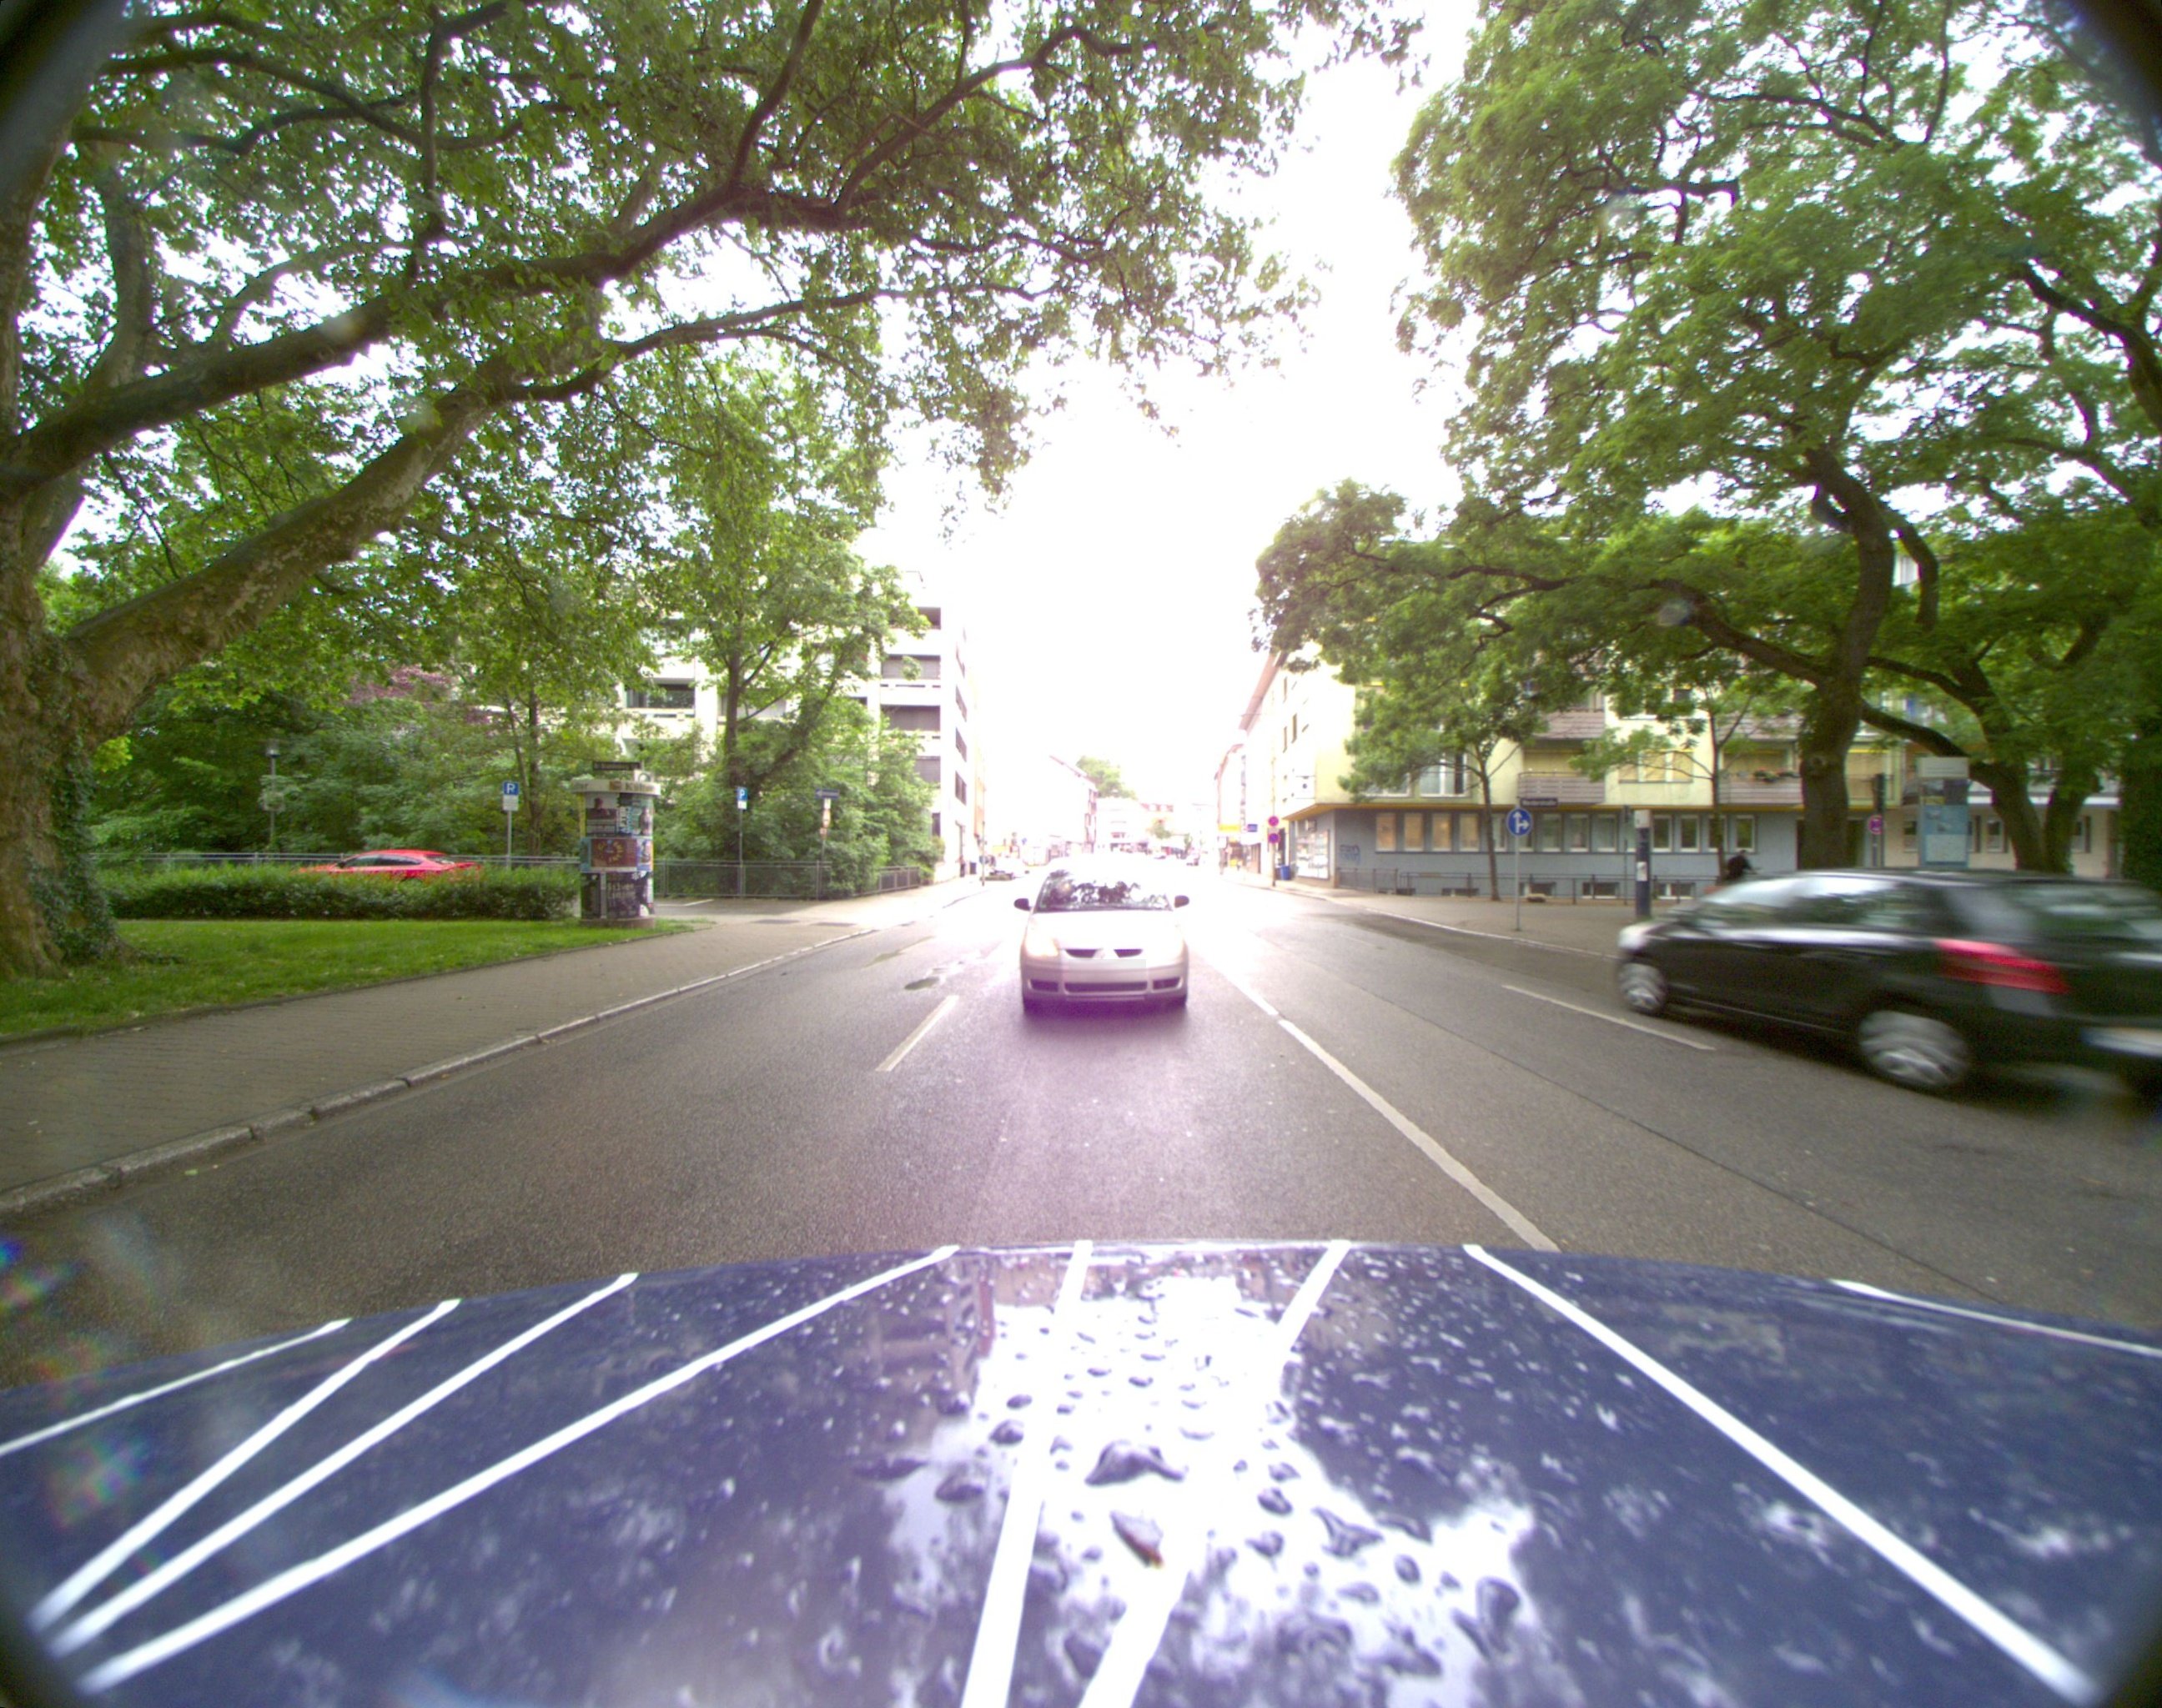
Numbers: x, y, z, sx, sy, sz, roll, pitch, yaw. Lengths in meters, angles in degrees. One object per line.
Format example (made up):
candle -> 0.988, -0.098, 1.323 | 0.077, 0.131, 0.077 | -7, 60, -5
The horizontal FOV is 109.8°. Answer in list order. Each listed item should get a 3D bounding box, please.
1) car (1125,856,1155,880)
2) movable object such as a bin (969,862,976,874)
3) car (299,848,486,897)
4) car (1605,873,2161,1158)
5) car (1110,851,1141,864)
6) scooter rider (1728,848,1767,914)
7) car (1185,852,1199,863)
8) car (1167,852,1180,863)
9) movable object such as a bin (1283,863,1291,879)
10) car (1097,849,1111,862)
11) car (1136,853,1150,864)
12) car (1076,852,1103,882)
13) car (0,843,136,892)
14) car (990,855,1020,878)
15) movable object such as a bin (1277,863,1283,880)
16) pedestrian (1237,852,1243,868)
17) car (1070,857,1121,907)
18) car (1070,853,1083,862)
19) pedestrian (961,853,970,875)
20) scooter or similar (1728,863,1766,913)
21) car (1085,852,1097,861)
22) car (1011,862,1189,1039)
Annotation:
car -> 3.819, 0.881, 49.816 | 1.701, 1.433, 3.897 | 1, 0, 1
movable object such as a bin -> -8.992, 1.161, 62.934 | 0.556, 1.035, 0.292 | 1, 1, 0
car -> -19.424, 0.513, 21.561 | 3.790, 1.271, 1.576 | 1, 1, -3
car -> 6.182, 0.963, 6.040 | 1.571, 1.479, 3.567 | 1, 0, 1
car -> 5.722, 0.434, 97.720 | 3.599, 1.528, 1.606 | -2, 1, -8
scooter rider -> 18.702, 0.742, 21.334 | 0.711, 1.806, 0.699 | -1, -1, 33
car -> 17.702, 0.516, 121.214 | 1.889, 1.707, 4.001 | 1, 0, 4
car -> 14.799, 0.531, 121.159 | 1.867, 1.648, 4.001 | 1, 0, 4
movable object such as a bin -> 13.076, 1.098, 48.220 | 0.415, 1.023, 0.353 | 1, 1, 8
car -> 3.440, 0.197, 113.203 | 1.935, 1.817, 3.999 | -2, 1, 0
car -> 8.807, 0.630, 108.046 | 1.998, 1.631, 4.001 | 1, 0, 4
car -> 0.494, 0.768, 46.720 | 1.584, 1.705, 3.649 | 1, 0, 0
car -> -29.157, 0.362, 21.223 | 3.468, 1.271, 1.448 | 1, 1, -5
car -> -5.313, 0.856, 53.507 | 1.681, 1.424, 3.681 | 3, 0, 1
movable object such as a bin -> 12.669, 1.110, 48.347 | 0.338, 1.023, 0.353 | 1, 1, 8
pedestrian -> 17.510, 0.648, 83.585 | 0.594, 1.833, 0.565 | 1, 1, 8
car -> 0.550, 0.892, 25.832 | 1.590, 1.540, 3.771 | 1, 0, 2
car -> -0.674, 0.511, 113.445 | 1.802, 1.433, 3.896 | 1, 0, 0
pedestrian -> -8.007, 0.672, 52.801 | 0.480, 1.521, 0.481 | -2, 1, 1
scooter or similar -> 18.697, 0.954, 21.337 | 0.676, 1.373, 0.669 | -1, -1, 32
car -> 1.577, 0.431, 120.015 | 1.802, 1.433, 3.897 | 1, 0, 1
car -> 0.198, 0.892, 8.483 | 1.576, 1.514, 3.241 | -1, 0, 1
